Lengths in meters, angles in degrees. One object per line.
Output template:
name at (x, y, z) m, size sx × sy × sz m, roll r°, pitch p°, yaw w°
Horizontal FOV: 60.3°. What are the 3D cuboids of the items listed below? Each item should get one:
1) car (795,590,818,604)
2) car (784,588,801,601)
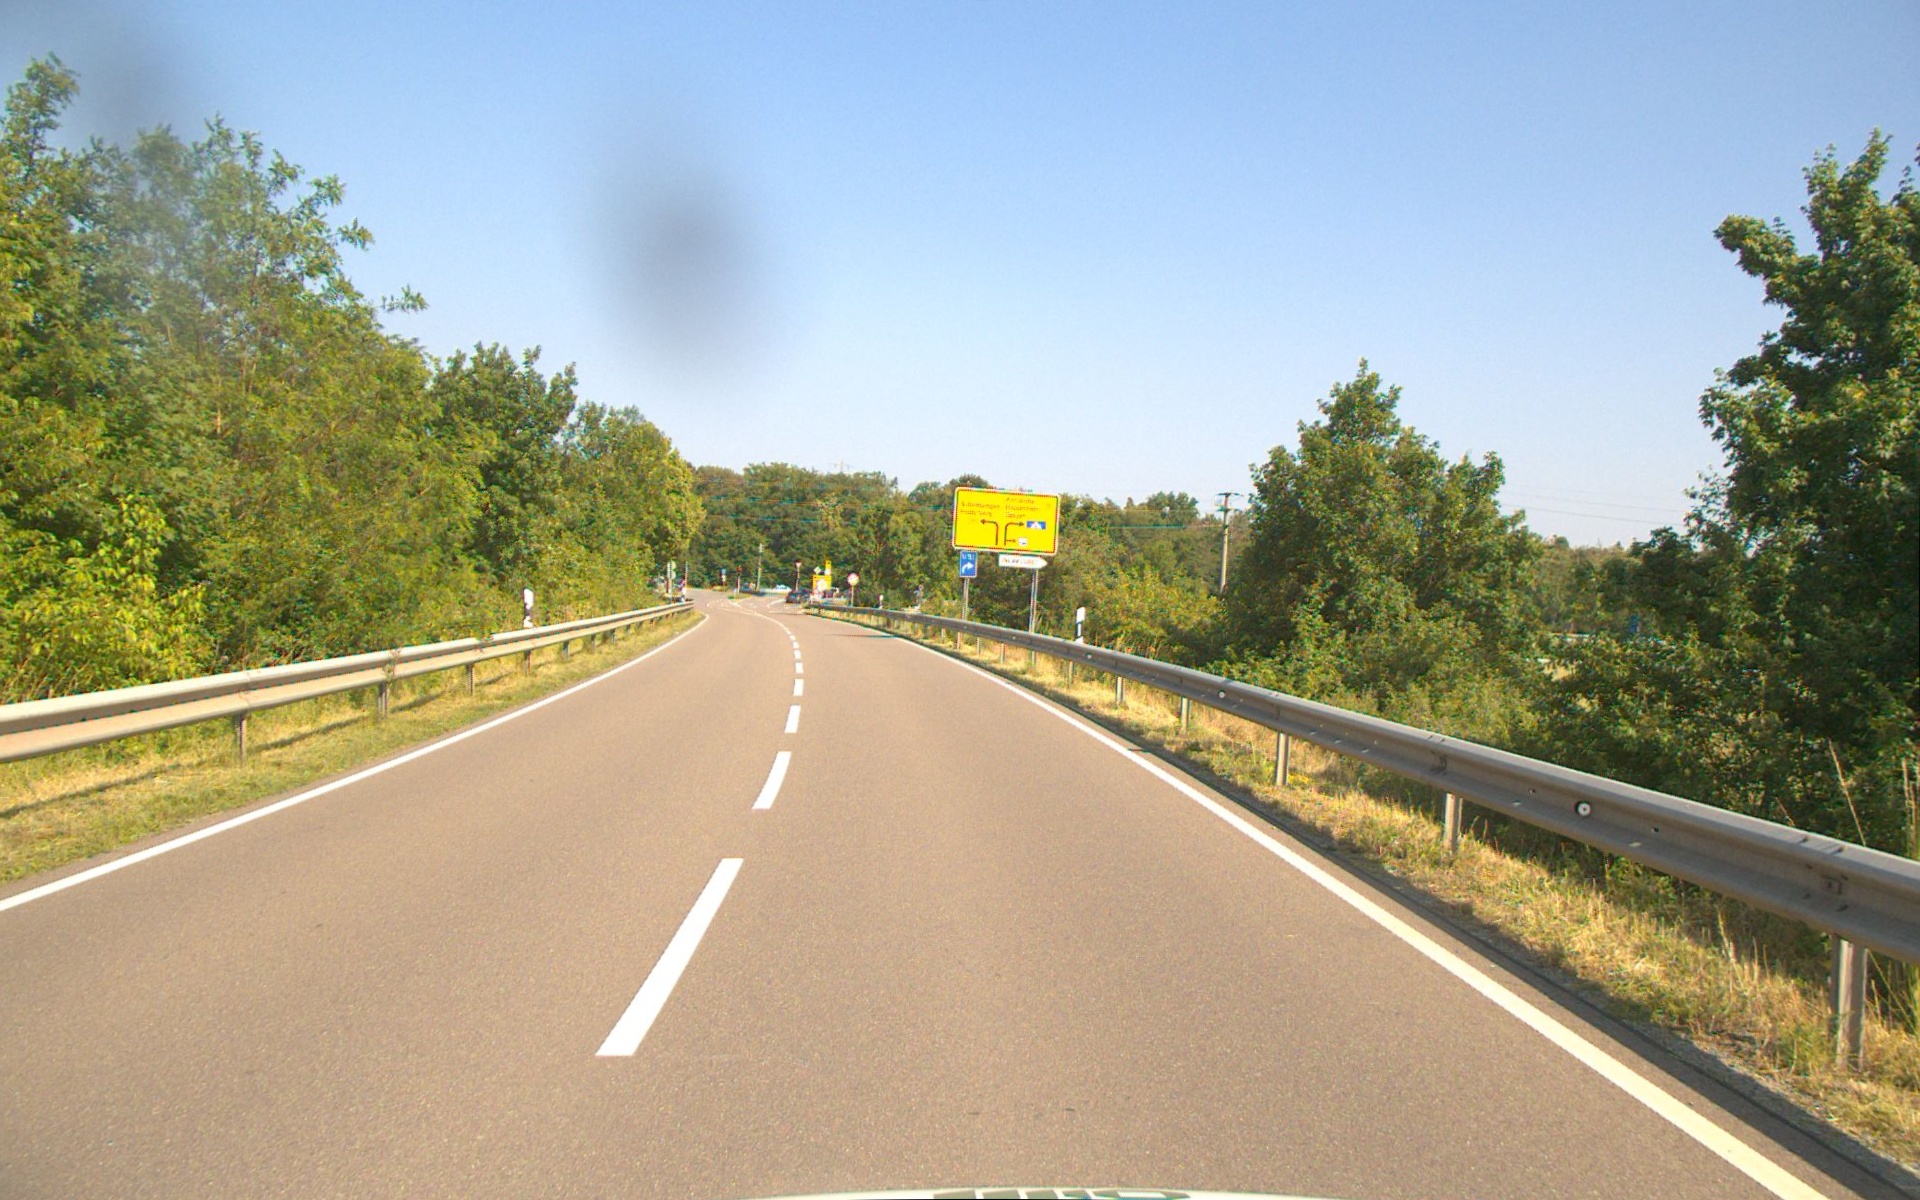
car at (-19.036, -0.362, 205.156) m, size 1.761 × 1.527 × 4.003 m, roll 3°, pitch 0°, yaw 9°
car at (-20.027, -0.660, 197.622) m, size 1.764 × 1.422 × 3.998 m, roll -4°, pitch 0°, yaw -3°
